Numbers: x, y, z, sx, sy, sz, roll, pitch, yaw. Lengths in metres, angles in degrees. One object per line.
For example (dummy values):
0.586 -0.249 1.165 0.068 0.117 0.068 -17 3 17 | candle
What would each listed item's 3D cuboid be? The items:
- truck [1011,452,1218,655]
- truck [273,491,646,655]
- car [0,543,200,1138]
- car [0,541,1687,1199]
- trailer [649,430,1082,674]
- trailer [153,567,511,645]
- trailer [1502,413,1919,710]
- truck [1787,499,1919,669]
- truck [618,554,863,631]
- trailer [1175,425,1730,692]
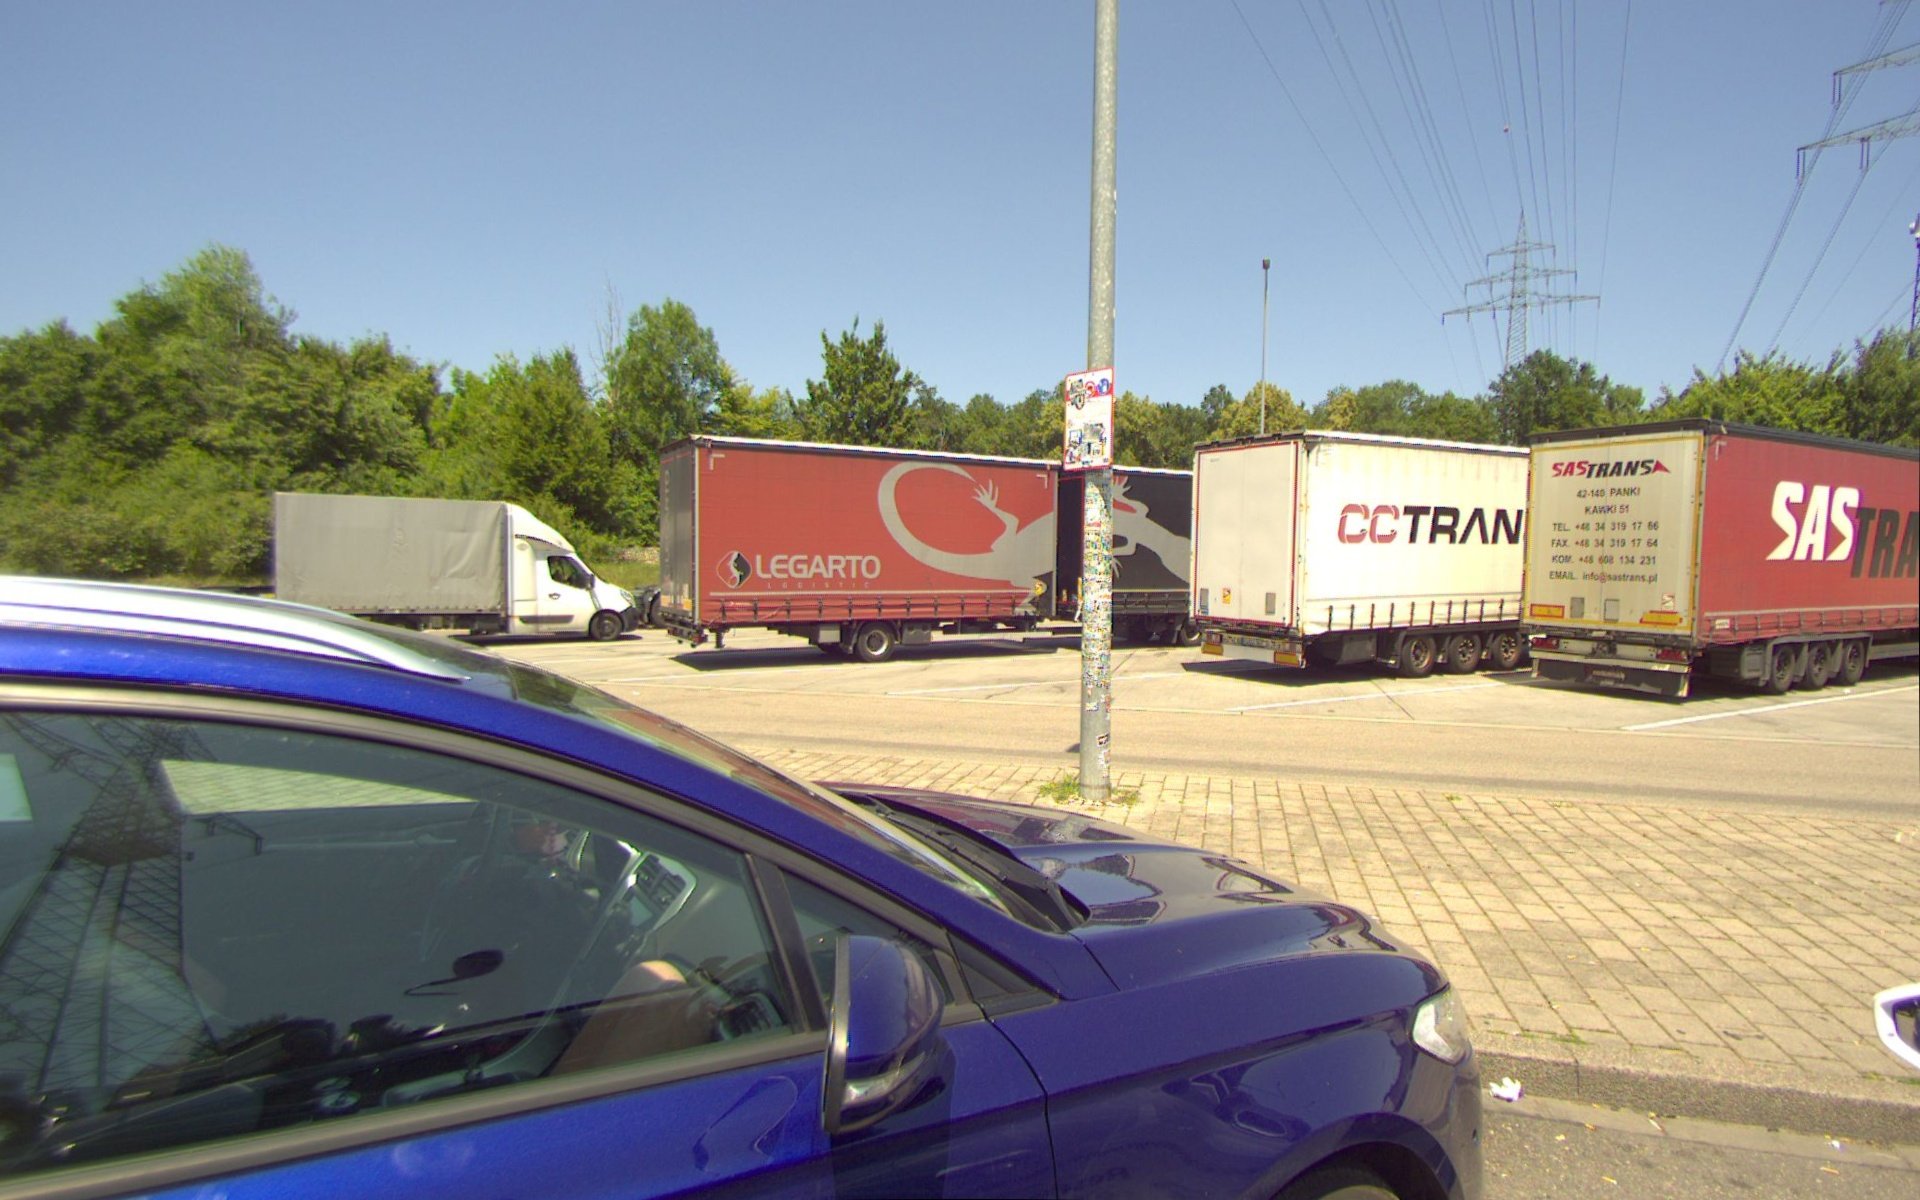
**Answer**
3.581 -1.072 23.463 3.947 4.298 2.723 -1 3 -30 | truck
-11.178 -0.632 23.038 7.204 3.279 2.727 -1 3 -29 | truck
-4.602 0.602 2.240 4.444 1.520 1.762 0 2 -32 | car
-1.025 0.680 1.507 4.444 1.511 1.859 0 3 -32 | car
-1.731 -0.906 20.342 8.376 4.141 2.722 -1 3 -30 | trailer
-15.153 0.048 24.908 7.204 1.711 2.249 -1 3 -29 | trailer
15.618 -0.695 18.738 13.962 4.141 2.777 -1 3 -30 | trailer
21.221 -0.396 22.015 5.829 3.373 2.837 -1 3 -30 | truck
-6.335 -0.239 29.288 6.733 2.041 1.987 -1 1 -26 | truck
10.598 -0.804 20.349 13.962 4.141 2.782 -1 3 -30 | trailer
